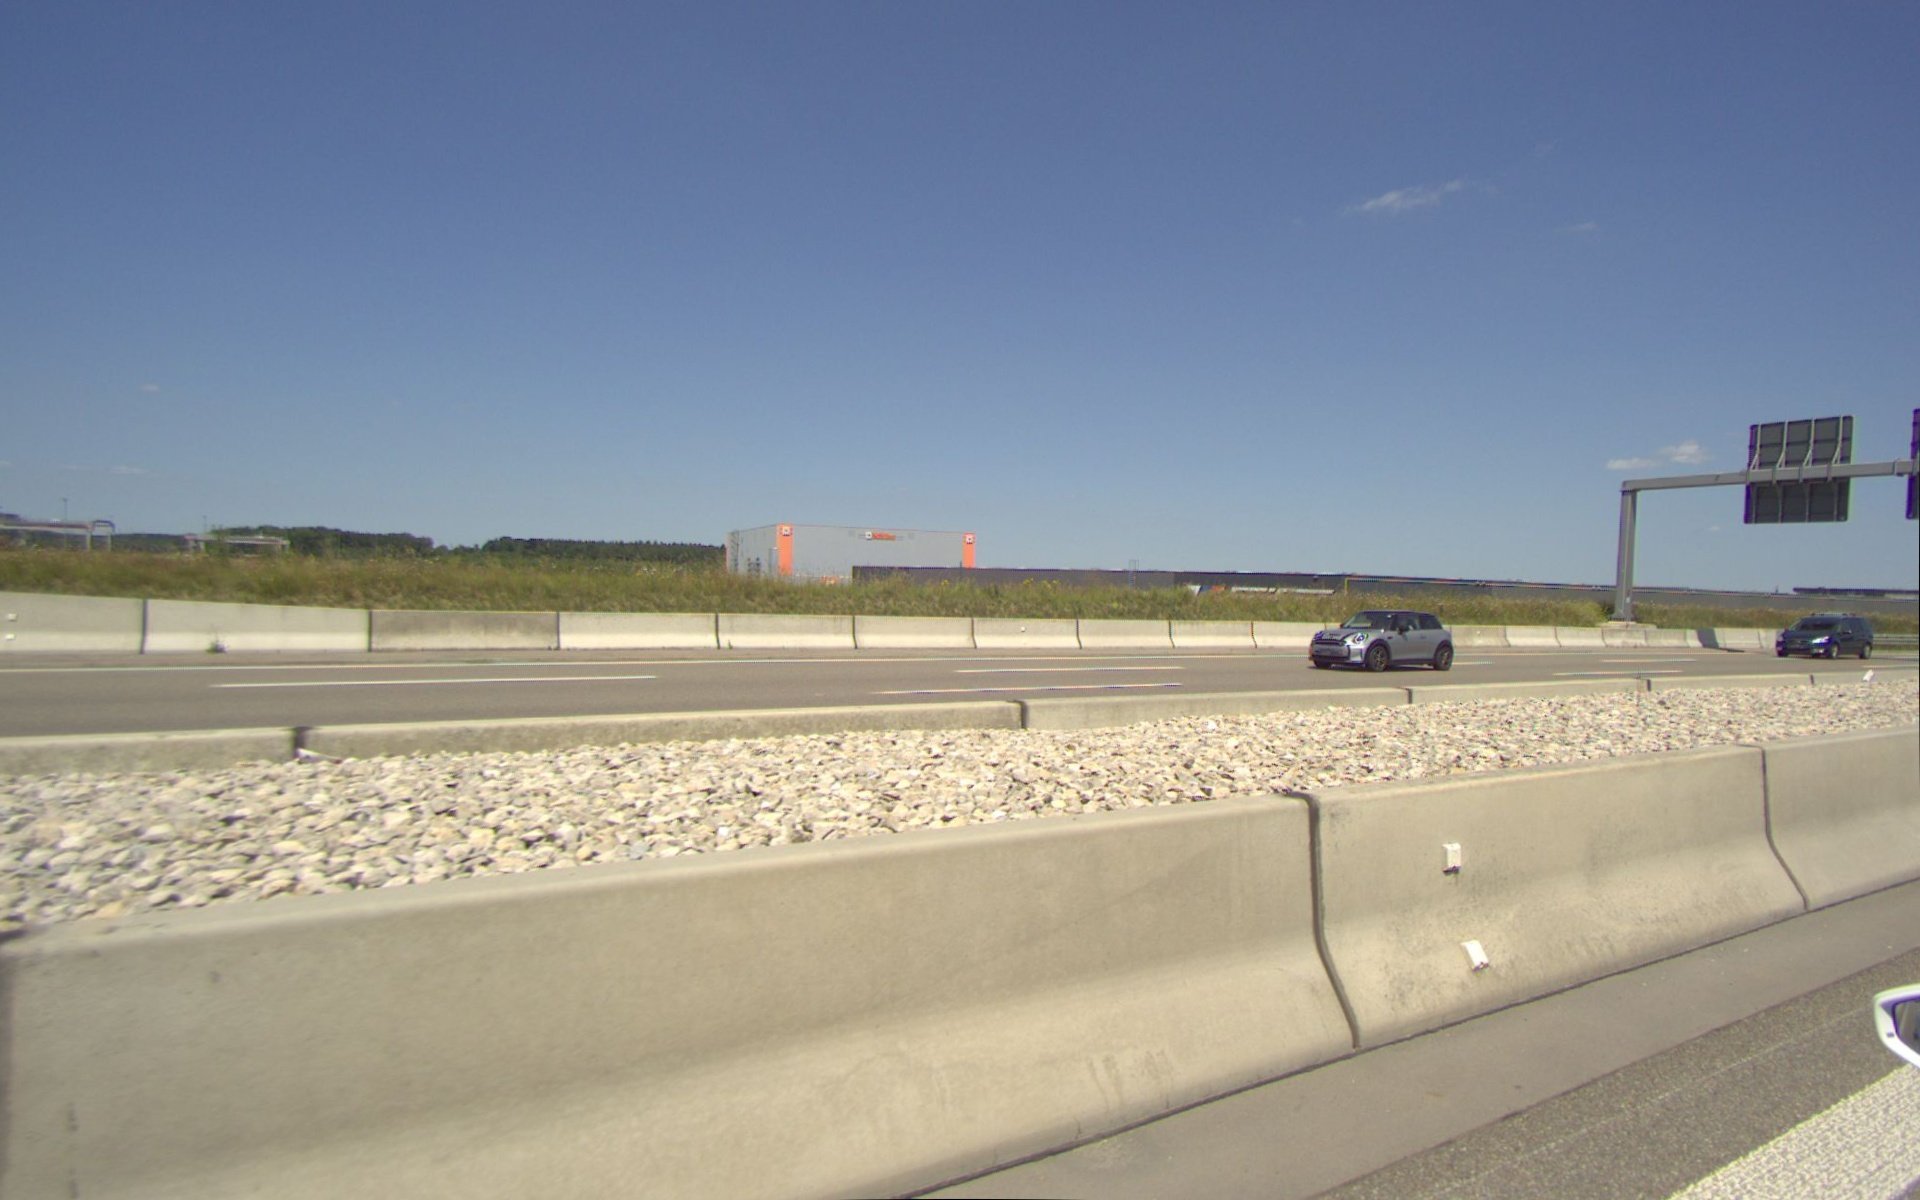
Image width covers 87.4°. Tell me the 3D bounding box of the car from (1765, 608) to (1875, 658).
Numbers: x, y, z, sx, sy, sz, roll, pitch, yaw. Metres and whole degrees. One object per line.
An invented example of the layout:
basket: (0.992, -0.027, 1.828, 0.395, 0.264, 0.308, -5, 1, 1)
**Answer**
car: (34.281, 1.293, 40.008, 4.864, 1.848, 1.837, 1, 0, -31)

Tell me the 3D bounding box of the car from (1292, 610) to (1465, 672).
car: (10.096, 0.954, 24.165, 3.941, 1.347, 1.881, 1, 0, -31)
